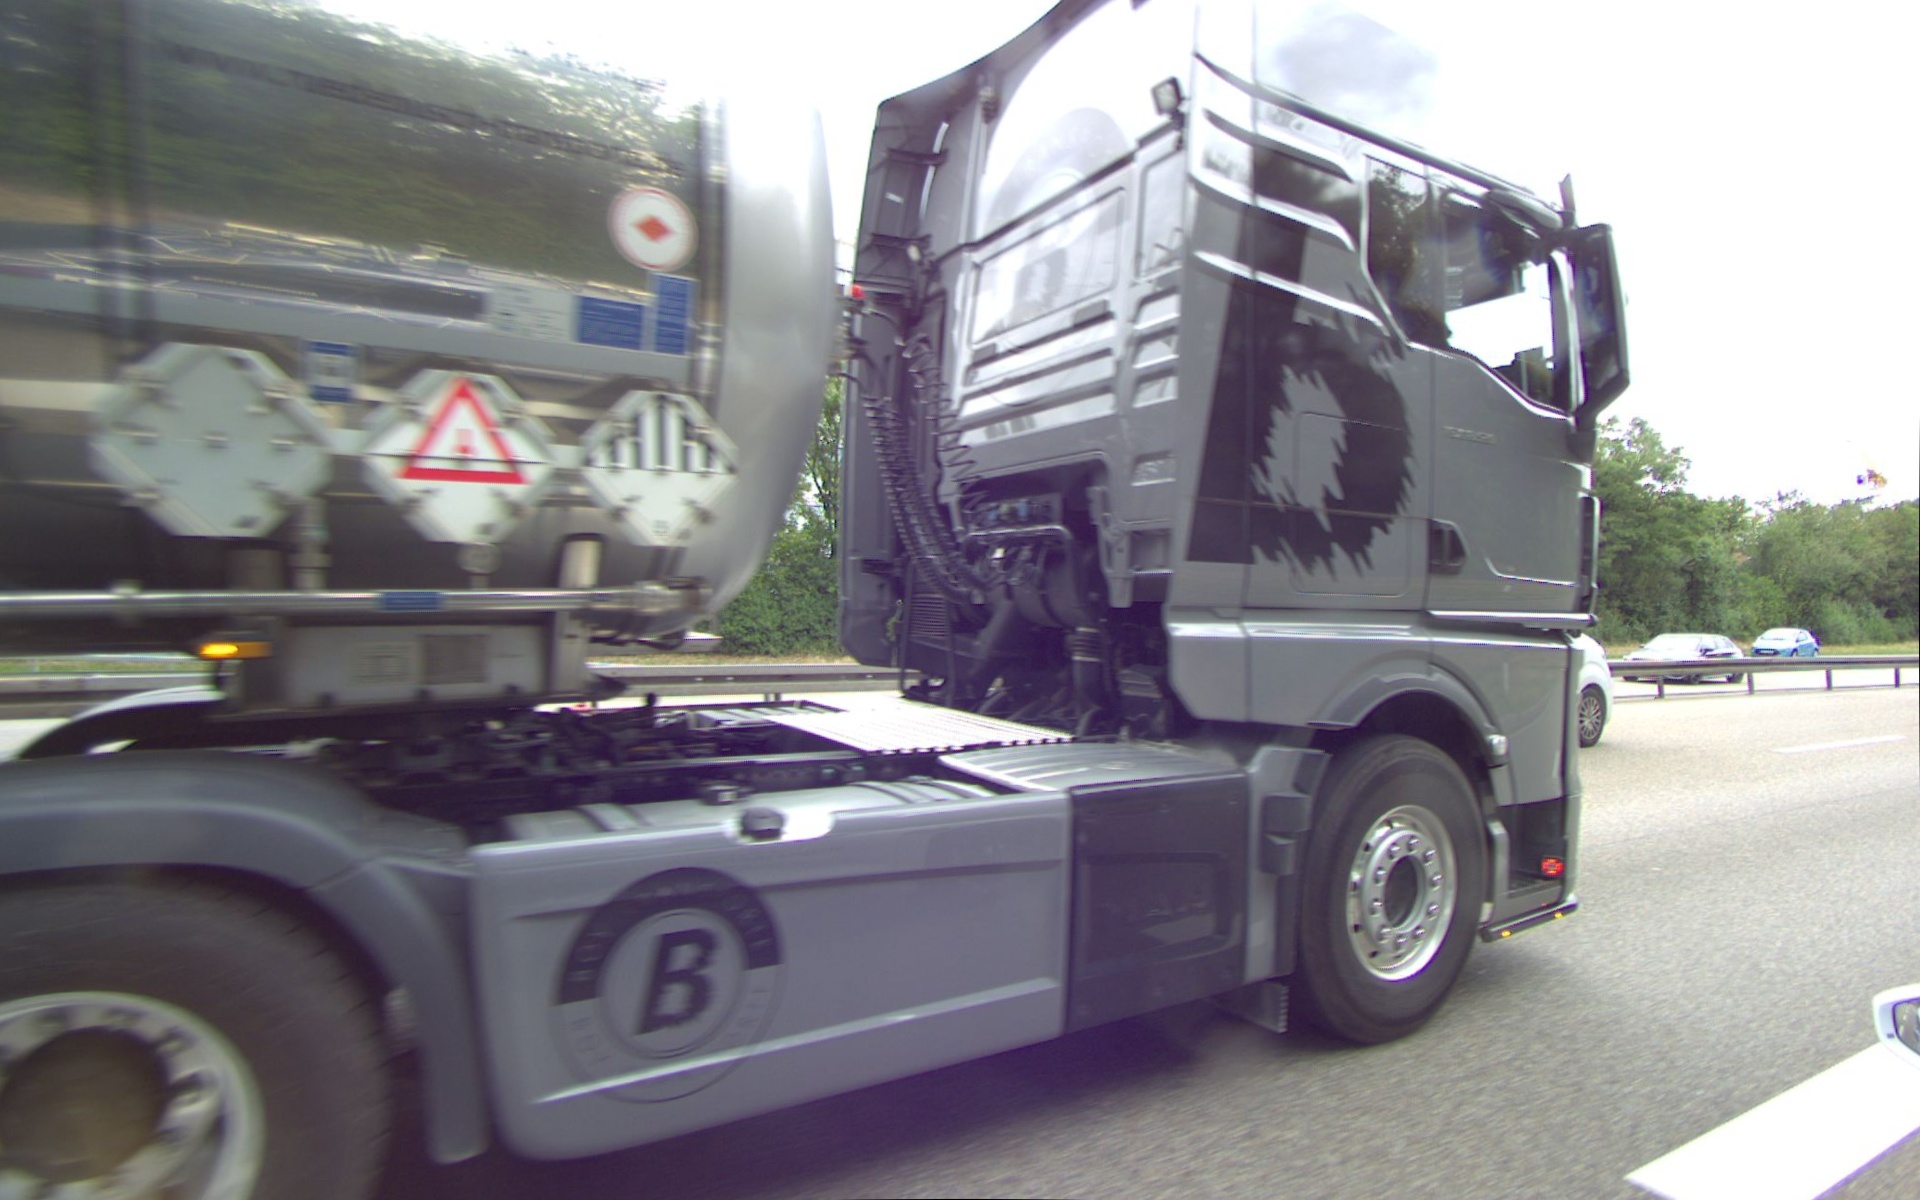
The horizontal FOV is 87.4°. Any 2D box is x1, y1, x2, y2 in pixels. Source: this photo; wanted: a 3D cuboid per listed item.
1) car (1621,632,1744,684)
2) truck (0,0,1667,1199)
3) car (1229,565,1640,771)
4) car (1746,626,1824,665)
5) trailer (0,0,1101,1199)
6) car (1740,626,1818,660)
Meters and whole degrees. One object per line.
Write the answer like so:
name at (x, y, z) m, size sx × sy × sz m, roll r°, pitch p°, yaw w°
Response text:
car at (21.232, 1.658, 29.493) m, size 3.472 × 1.412 × 1.696 m, roll 1°, pitch -1°, yaw -30°
truck at (-0.512, -0.541, 3.679) m, size 6.859 × 3.959 × 2.668 m, roll 1°, pitch -1°, yaw -32°
car at (5.461, 0.688, 11.376) m, size 4.821 × 1.917 × 1.842 m, roll 1°, pitch -1°, yaw -31°
car at (38.438, 2.108, 46.791) m, size 3.732 × 1.739 × 1.669 m, roll 1°, pitch -1°, yaw -30°
trailer at (-4.907, -0.652, 0.955) m, size 10.865 × 3.959 × 2.668 m, roll 1°, pitch -1°, yaw -32°
car at (37.840, 1.969, 46.391) m, size 3.659 × 1.521 × 1.585 m, roll 1°, pitch -1°, yaw -29°
